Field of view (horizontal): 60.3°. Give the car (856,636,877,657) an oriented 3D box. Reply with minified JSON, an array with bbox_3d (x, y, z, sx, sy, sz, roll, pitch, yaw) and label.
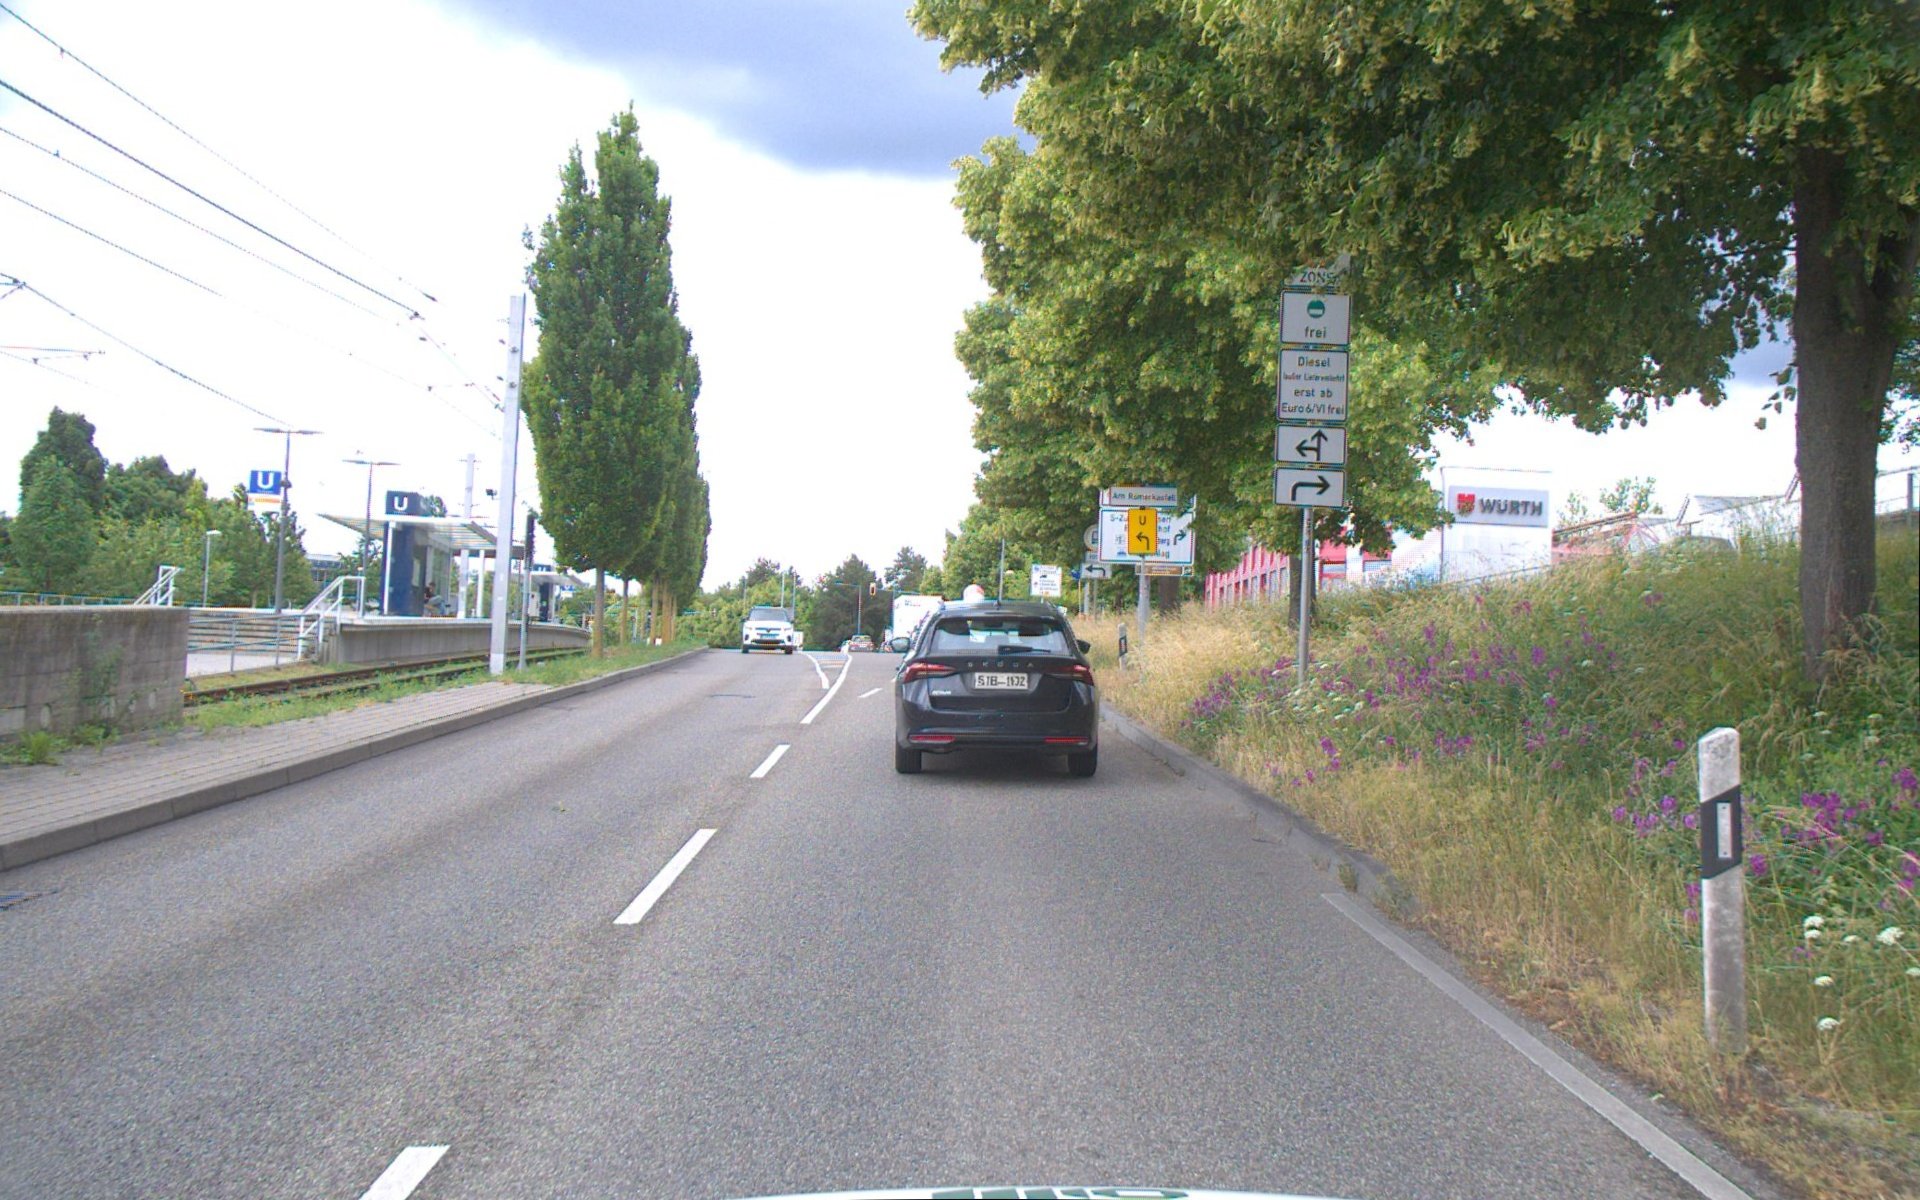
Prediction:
[{"bbox_3d":[-6.786,3.365,119.967,1.495,1.378,3.488,1,0,-4],"label":"car"}]

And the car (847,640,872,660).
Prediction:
[{"bbox_3d":[-7.840,3.889,129.014,1.688,1.447,4.349,1,-3,-6],"label":"car"}]

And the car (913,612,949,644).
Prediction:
[{"bbox_3d":[-1.473,1.431,83.525,1.638,1.473,4.486,1,-2,-3],"label":"car"}]

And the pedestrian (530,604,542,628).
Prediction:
[{"bbox_3d":[-23.362,0.890,91.171,0.599,1.291,0.658,1,-1,-12],"label":"pedestrian"}]

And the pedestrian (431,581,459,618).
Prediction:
[{"bbox_3d":[-17.263,0.000,55.461,0.747,1.220,0.664,1,-1,-7],"label":"pedestrian"}]

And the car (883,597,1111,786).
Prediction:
[{"bbox_3d":[0.410,0.720,15.296,1.797,1.457,4.280,1,0,3],"label":"car"}]

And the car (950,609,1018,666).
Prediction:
[{"bbox_3d":[0.636,1.040,46.042,1.684,1.483,3.694,1,-1,-2],"label":"car"}]

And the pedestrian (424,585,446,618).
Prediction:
[{"bbox_3d":[-17.877,0.057,56.338,0.595,1.098,0.469,1,-1,-7],"label":"pedestrian"}]

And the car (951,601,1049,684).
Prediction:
[{"bbox_3d":[0.712,0.779,31.781,1.591,1.483,3.686,1,-1,-3],"label":"car"}]

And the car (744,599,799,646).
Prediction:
[{"bbox_3d":[-6.433,0.761,56.788,1.682,1.548,3.741,1,0,-4],"label":"car"}]

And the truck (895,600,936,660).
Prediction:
[{"bbox_3d":[-3.027,2.078,111.392,2.521,3.771,4.100,1,-5,-5],"label":"truck"}]

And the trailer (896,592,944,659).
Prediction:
[{"bbox_3d":[-2.660,1.747,107.567,2.516,3.771,7.752,1,-5,-6],"label":"trailer"}]

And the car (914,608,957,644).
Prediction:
[{"bbox_3d":[-1.112,1.122,73.513,1.665,1.512,3.996,2,0,-4],"label":"car"}]

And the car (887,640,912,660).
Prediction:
[{"bbox_3d":[-4.507,3.711,123.061,1.776,1.378,4.115,2,-1,-3],"label":"car"}]
